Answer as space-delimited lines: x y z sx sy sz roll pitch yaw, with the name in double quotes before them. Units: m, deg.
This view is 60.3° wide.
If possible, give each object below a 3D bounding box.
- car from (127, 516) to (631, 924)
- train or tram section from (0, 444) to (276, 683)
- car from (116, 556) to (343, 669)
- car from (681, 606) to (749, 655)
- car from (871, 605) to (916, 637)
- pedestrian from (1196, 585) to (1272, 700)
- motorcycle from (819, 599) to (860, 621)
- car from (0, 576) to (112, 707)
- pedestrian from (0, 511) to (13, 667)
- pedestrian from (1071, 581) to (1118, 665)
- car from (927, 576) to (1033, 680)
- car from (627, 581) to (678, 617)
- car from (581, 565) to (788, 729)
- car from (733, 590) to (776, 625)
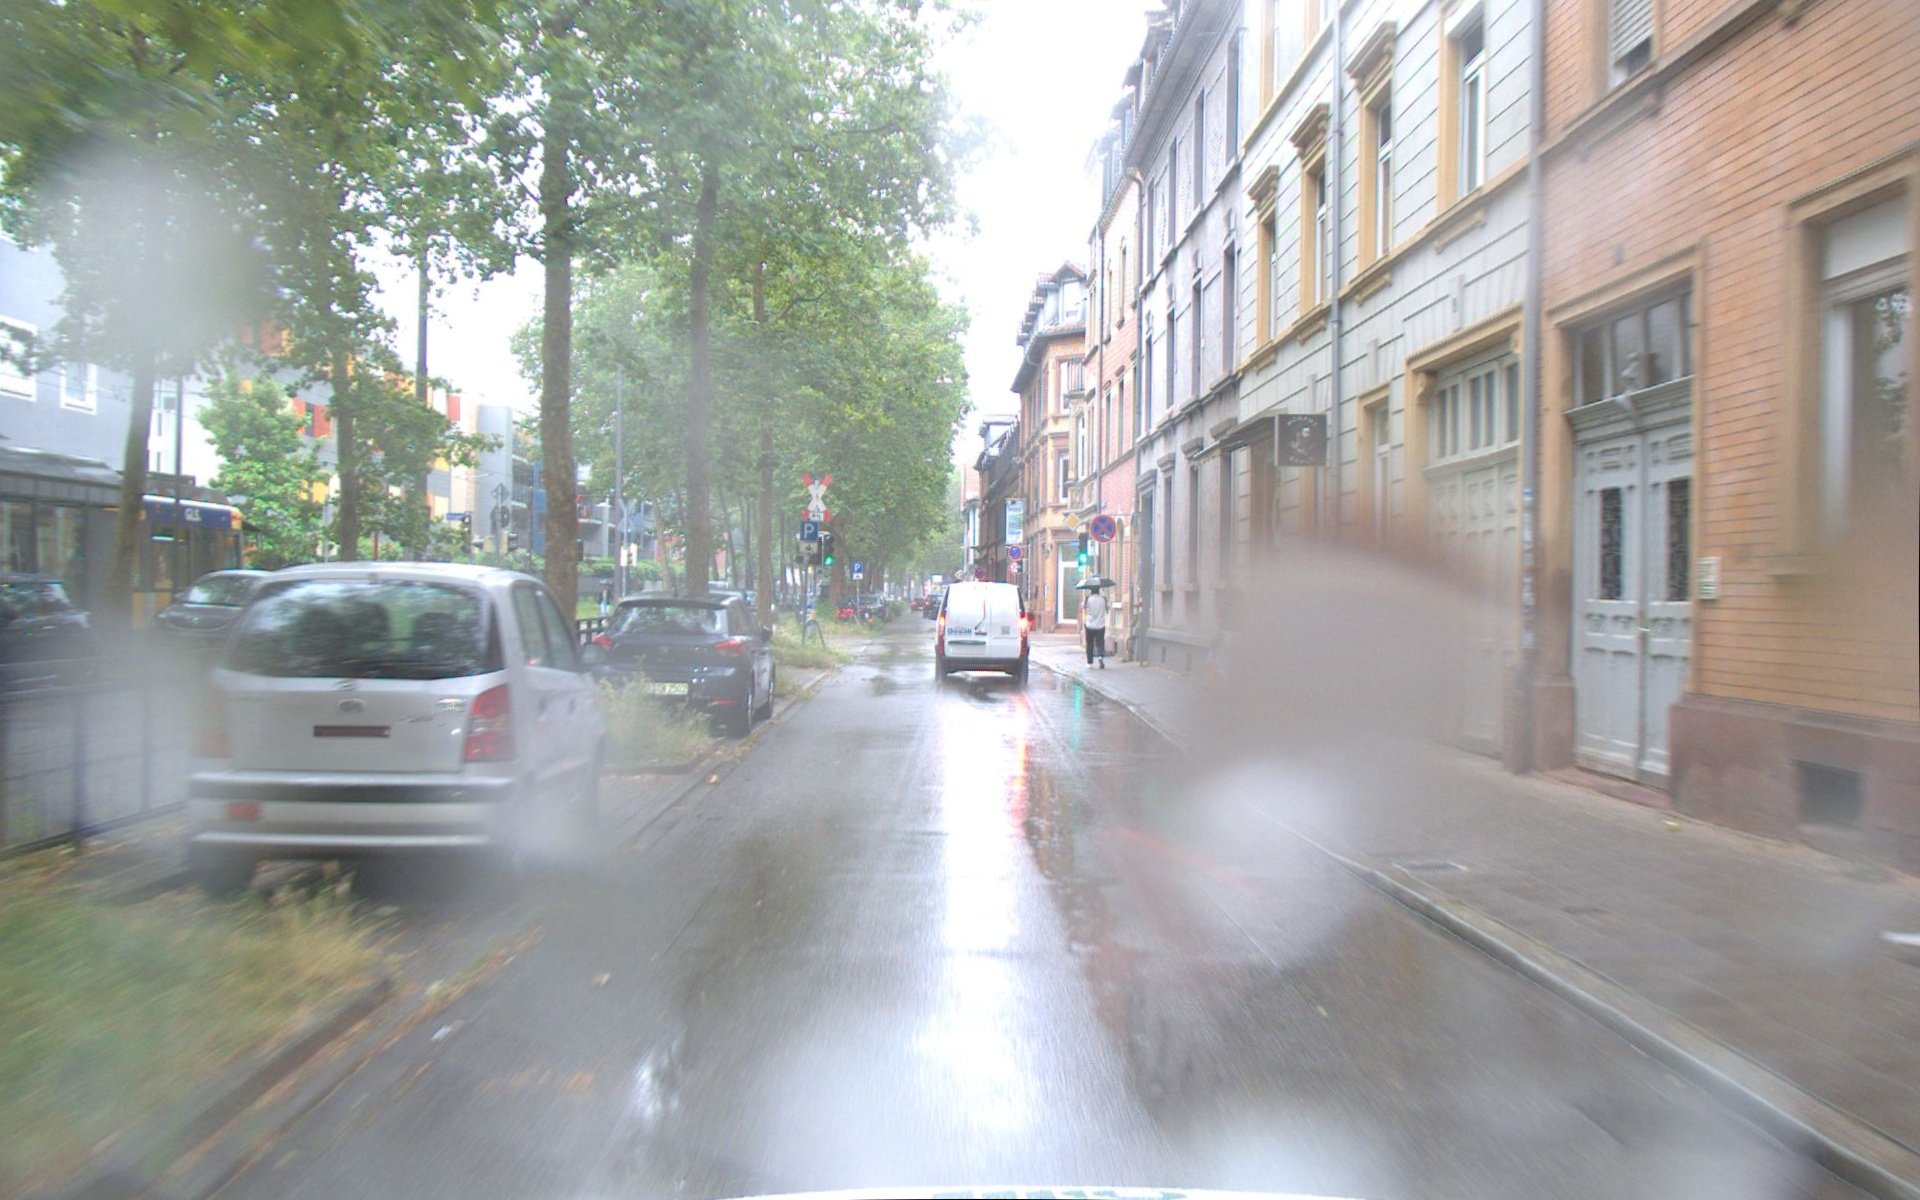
"car" -2.841 0.491 8.903 1.592 1.711 3.657 2 1 -4
"train or tram section" -16.211 -0.485 28.641 3.043 3.621 14.667 0 -1 -2
"car" -11.577 0.170 26.525 1.953 1.641 3.998 1 0 -2
"car" -8.818 1.071 59.783 1.957 1.641 3.998 1 0 -2
"car" -3.151 0.966 78.720 1.953 1.411 4.000 1 0 0
"pedestrian" 3.849 0.580 23.302 0.823 1.538 1.107 -2 0 -1
"motorcycle" -5.094 0.431 70.128 1.670 0.880 0.577 1 0 3
"car" -11.287 0.429 18.498 1.704 1.366 3.754 4 0 -2
"pedestrian" -13.047 -0.152 21.594 0.851 2.049 0.821 1 0 2
"pedestrian" 2.889 0.477 35.582 0.823 1.746 1.107 -2 0 -1
"car" 0.331 0.532 31.610 1.865 1.829 4.112 1 -1 -1
"car" -13.241 -0.055 71.369 1.956 1.440 3.993 1 0 -8
"car" -2.898 0.464 18.190 1.615 1.526 4.118 3 0 -2
"car" -10.252 0.344 82.717 1.958 1.641 4.120 1 0 -5
